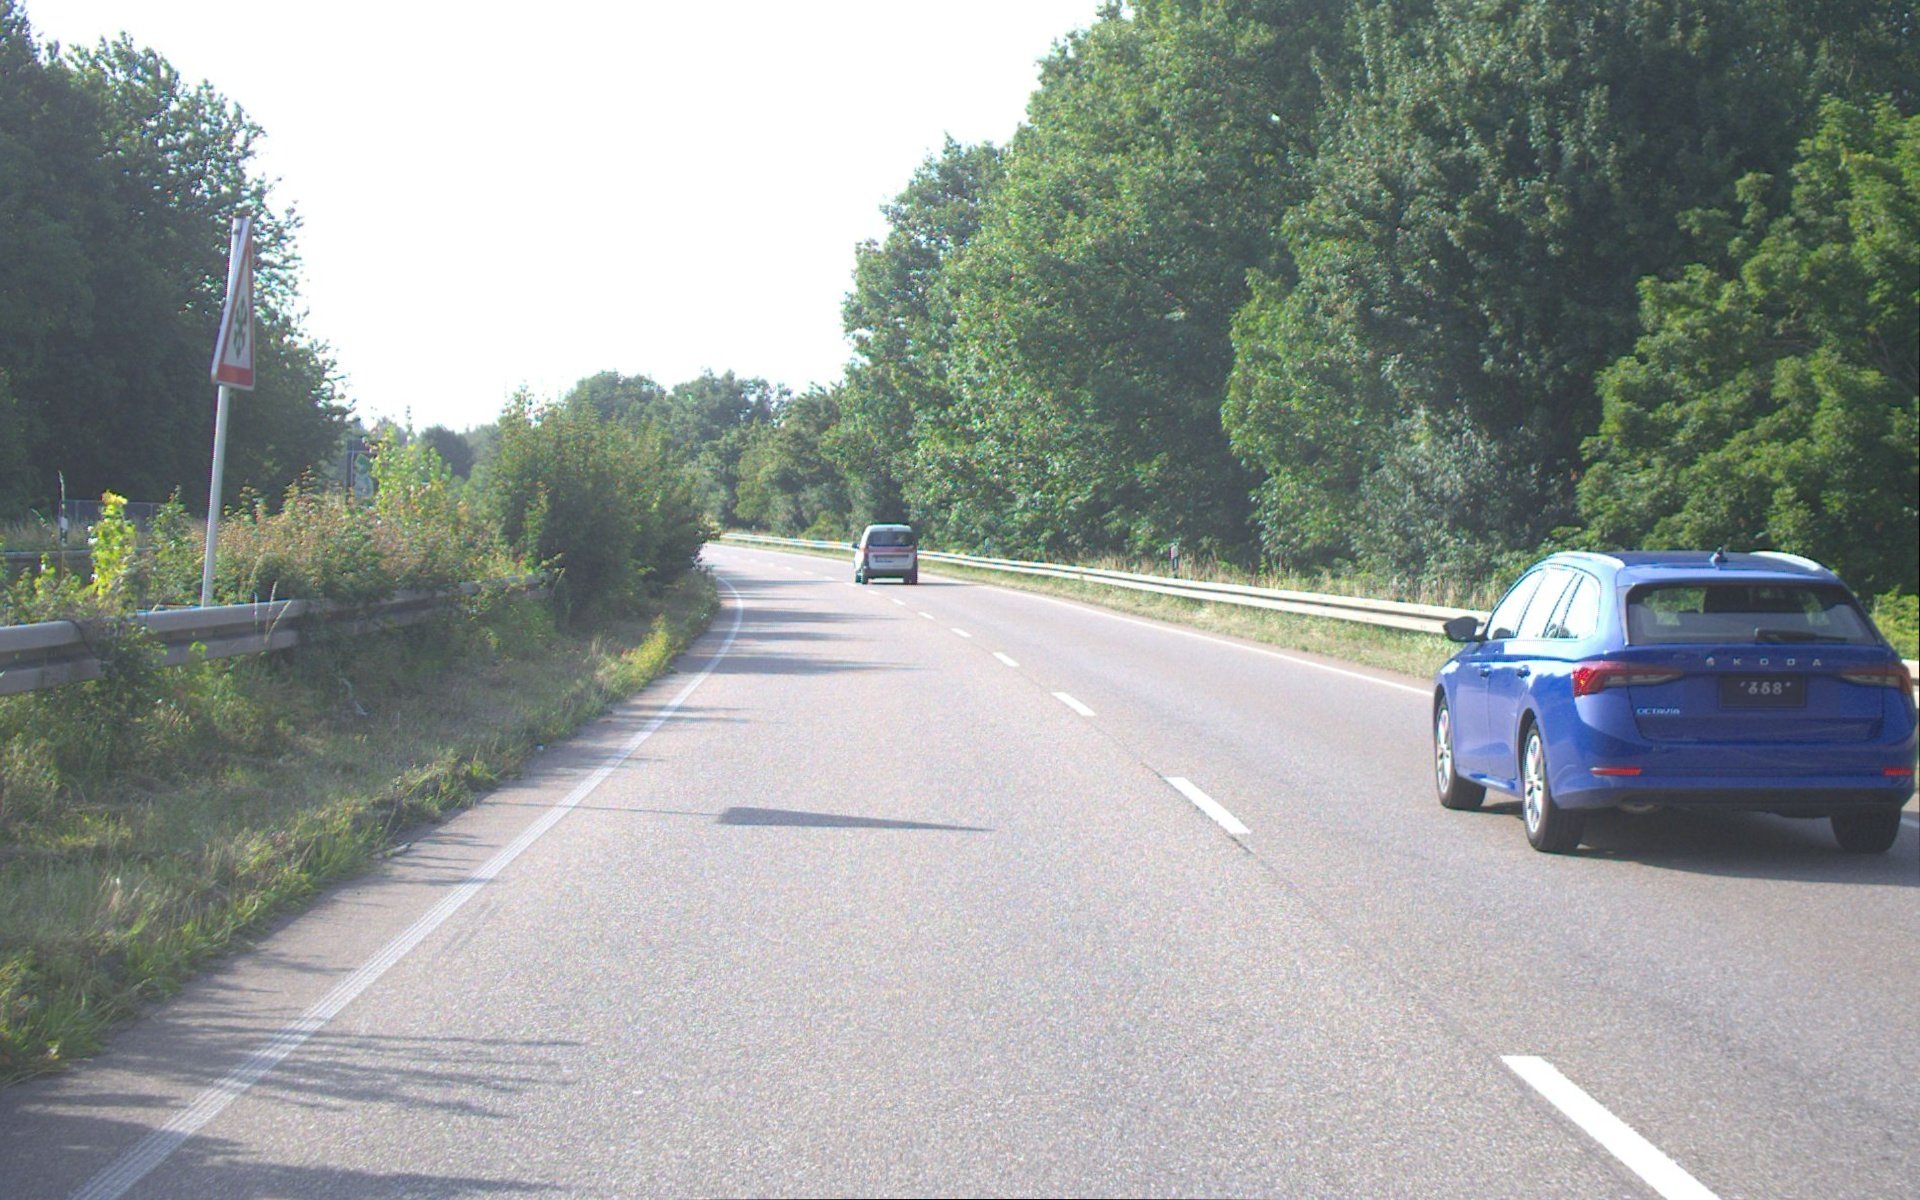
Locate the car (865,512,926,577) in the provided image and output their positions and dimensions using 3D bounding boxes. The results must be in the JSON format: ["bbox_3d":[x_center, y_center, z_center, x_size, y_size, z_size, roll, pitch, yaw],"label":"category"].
[{"bbox_3d":[-1.984,-1.712,104.797,1.765,1.875,4.001,1,2,-2],"label":"car"}]

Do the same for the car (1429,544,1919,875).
[{"bbox_3d":[3.615,0.465,17.494,1.779,1.446,4.001,1,1,-2],"label":"car"}]
